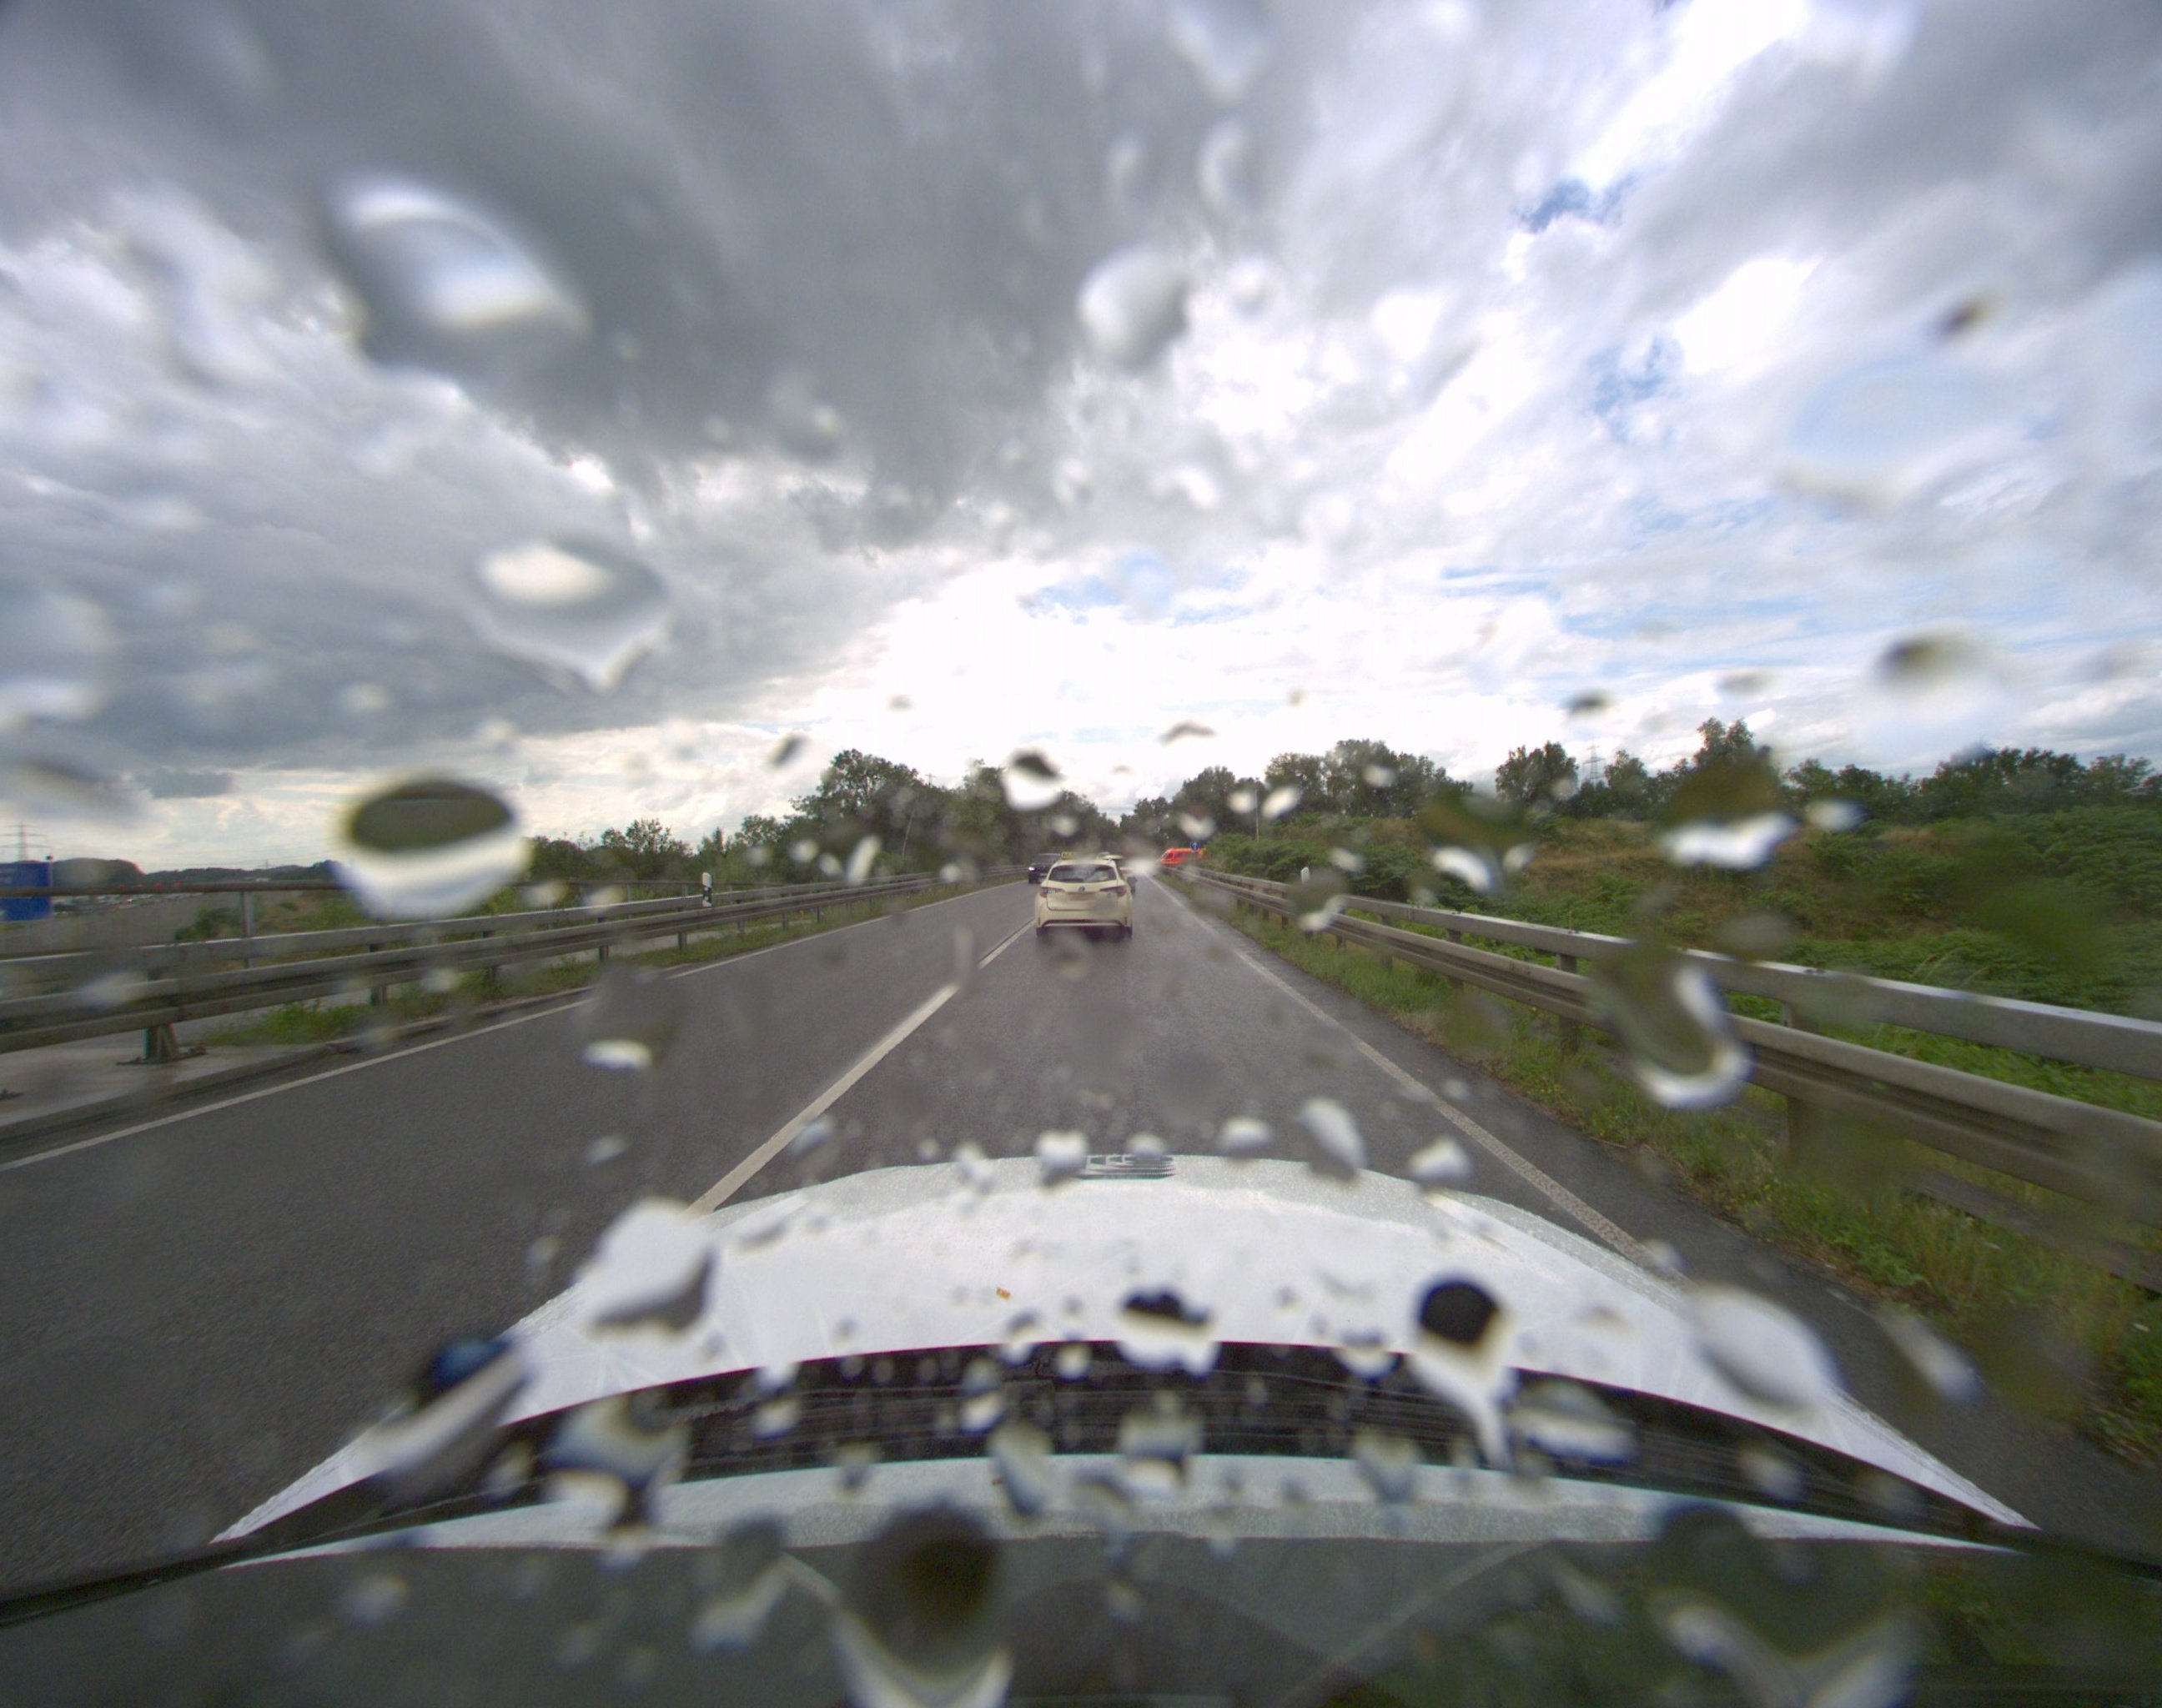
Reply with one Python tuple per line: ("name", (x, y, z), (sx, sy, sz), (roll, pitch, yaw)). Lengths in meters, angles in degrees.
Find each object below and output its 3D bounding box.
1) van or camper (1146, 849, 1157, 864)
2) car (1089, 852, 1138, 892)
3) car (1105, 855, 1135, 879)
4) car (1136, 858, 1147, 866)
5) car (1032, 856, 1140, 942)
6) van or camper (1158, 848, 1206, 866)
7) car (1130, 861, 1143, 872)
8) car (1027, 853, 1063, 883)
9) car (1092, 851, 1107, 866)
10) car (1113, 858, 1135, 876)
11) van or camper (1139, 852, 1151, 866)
("van or camper", (17.155, 0.580, 198.490), (2.323, 3.562, 6.312), (0, 0, 3))
("car", (1.278, 0.666, 32.782), (1.847, 1.443, 4.173), (0, 1, 2))
("car", (2.452, 0.817, 52.381), (1.847, 1.443, 4.173), (0, 1, 2))
("car", (11.047, 1.427, 147.920), (1.845, 1.443, 4.177), (0, 0, 5))
("car", (0.152, 0.781, 16.084), (1.847, 1.394, 4.173), (0, 1, 2))
("van or camper", (12.649, 0.350, 102.155), (5.683, 2.241, 2.011), (0, 0, -13))
("car", (8.335, 1.836, 121.591), (1.845, 1.443, 4.177), (0, 0, 5))
("car", (-1.943, 0.717, 45.361), (1.773, 1.561, 4.302), (0, 0, 1))
("car", (2.786, 0.669, 120.691), (1.985, 2.128, 4.898), (0, 0, 3))
("car", (3.839, 1.149, 73.056), (1.847, 1.443, 4.173), (0, 1, 2))
("van or camper", (13.341, 1.000, 170.820), (2.323, 2.864, 6.312), (0, 0, 3))
